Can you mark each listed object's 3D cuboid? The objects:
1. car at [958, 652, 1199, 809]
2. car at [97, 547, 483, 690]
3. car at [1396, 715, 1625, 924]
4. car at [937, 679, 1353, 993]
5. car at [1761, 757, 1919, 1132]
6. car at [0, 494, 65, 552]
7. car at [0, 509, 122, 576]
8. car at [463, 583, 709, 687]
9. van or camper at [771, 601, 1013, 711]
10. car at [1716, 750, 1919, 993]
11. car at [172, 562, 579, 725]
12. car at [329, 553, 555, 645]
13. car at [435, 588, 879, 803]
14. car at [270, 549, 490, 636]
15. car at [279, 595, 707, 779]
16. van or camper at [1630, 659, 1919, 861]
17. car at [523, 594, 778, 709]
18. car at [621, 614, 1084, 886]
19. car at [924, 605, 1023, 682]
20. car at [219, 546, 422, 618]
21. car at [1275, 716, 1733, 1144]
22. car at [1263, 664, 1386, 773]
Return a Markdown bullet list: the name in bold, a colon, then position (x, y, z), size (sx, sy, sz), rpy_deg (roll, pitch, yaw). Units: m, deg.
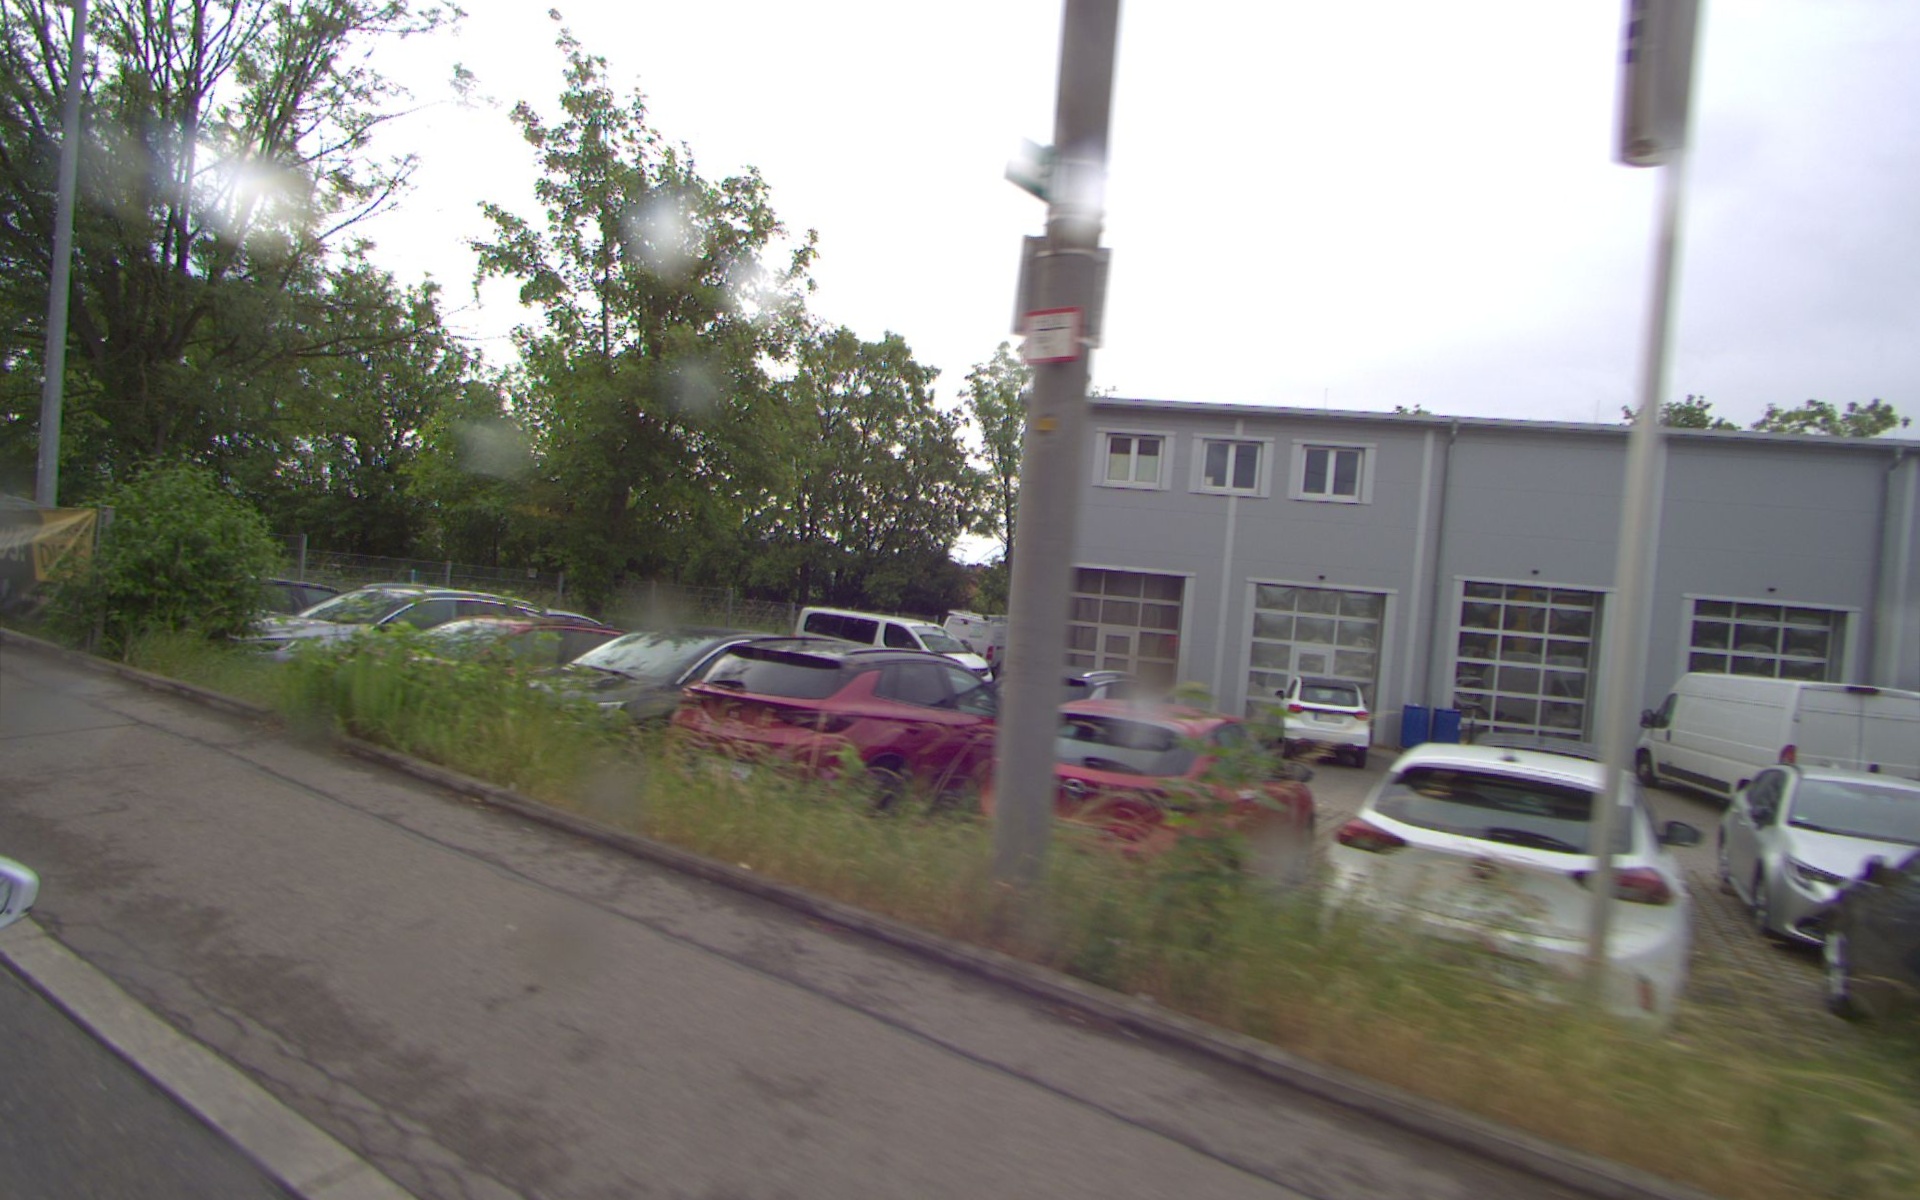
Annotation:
- **car**: position (1.667, 1.597, 12.979), size (1.532, 1.537, 3.695), rpy_deg (7, -1, 32)
- **car**: position (-8.993, 0.331, 13.901), size (1.772, 1.540, 3.997), rpy_deg (7, -1, 26)
- **car**: position (5.712, 2.028, 10.227), size (1.604, 1.435, 3.626), rpy_deg (7, -1, 34)
- **car**: position (1.693, 1.520, 7.810), size (1.731, 1.526, 3.993), rpy_deg (7, -1, 31)
- **car**: position (5.532, 1.768, 4.749), size (1.884, 1.471, 3.868), rpy_deg (7, -1, 28)
- **car**: position (-29.102, -2.465, 29.376), size (1.772, 1.540, 3.997), rpy_deg (7, -1, 26)
- **car**: position (-26.211, -1.681, 27.988), size (1.772, 1.540, 3.997), rpy_deg (7, -1, 26)
- **car**: position (-6.729, 0.698, 18.553), size (1.772, 1.540, 3.997), rpy_deg (7, -1, 26)
- **van or camper**: position (-1.712, 1.297, 24.103), size (5.523, 1.810, 1.996), rpy_deg (7, 0, 32)
- **car**: position (7.869, 2.246, 8.835), size (1.604, 1.435, 3.693), rpy_deg (7, -1, 34)
- **car**: position (-7.048, 0.572, 12.615), size (1.772, 1.540, 3.997), rpy_deg (7, -1, 26)
- **car**: position (-11.106, 0.037, 21.863), size (1.772, 1.540, 3.997), rpy_deg (7, -1, 26)
- **car**: position (-2.760, 0.902, 10.080), size (1.773, 1.540, 3.993), rpy_deg (7, -1, 31)
- **car**: position (-13.255, -0.105, 23.270), size (1.772, 1.540, 3.997), rpy_deg (7, -1, 26)
- **car**: position (-5.035, 0.951, 11.412), size (1.773, 1.540, 3.993), rpy_deg (7, -1, 31)
- **van or camper**: position (14.441, 2.589, 17.917), size (2.244, 2.522, 5.283), rpy_deg (7, 2, 14)
- **car**: position (-5.095, 0.896, 17.121), size (1.772, 1.540, 3.997), rpy_deg (7, -1, 26)
- **car**: position (-0.648, 1.158, 8.828), size (1.731, 1.608, 4.135), rpy_deg (7, -1, 32)
- **car**: position (0.534, 1.400, 32.350), size (2.087, 2.038, 4.429), rpy_deg (7, -1, 13)
- **car**: position (-16.114, -0.452, 25.559), size (1.772, 1.543, 3.989), rpy_deg (7, 4, 26)
- **car**: position (3.502, 1.655, 6.391), size (1.781, 1.512, 3.768), rpy_deg (7, -1, 33)
- **car**: position (7.598, 2.398, 21.342), size (1.806, 1.622, 3.998), rpy_deg (7, 2, 13)
